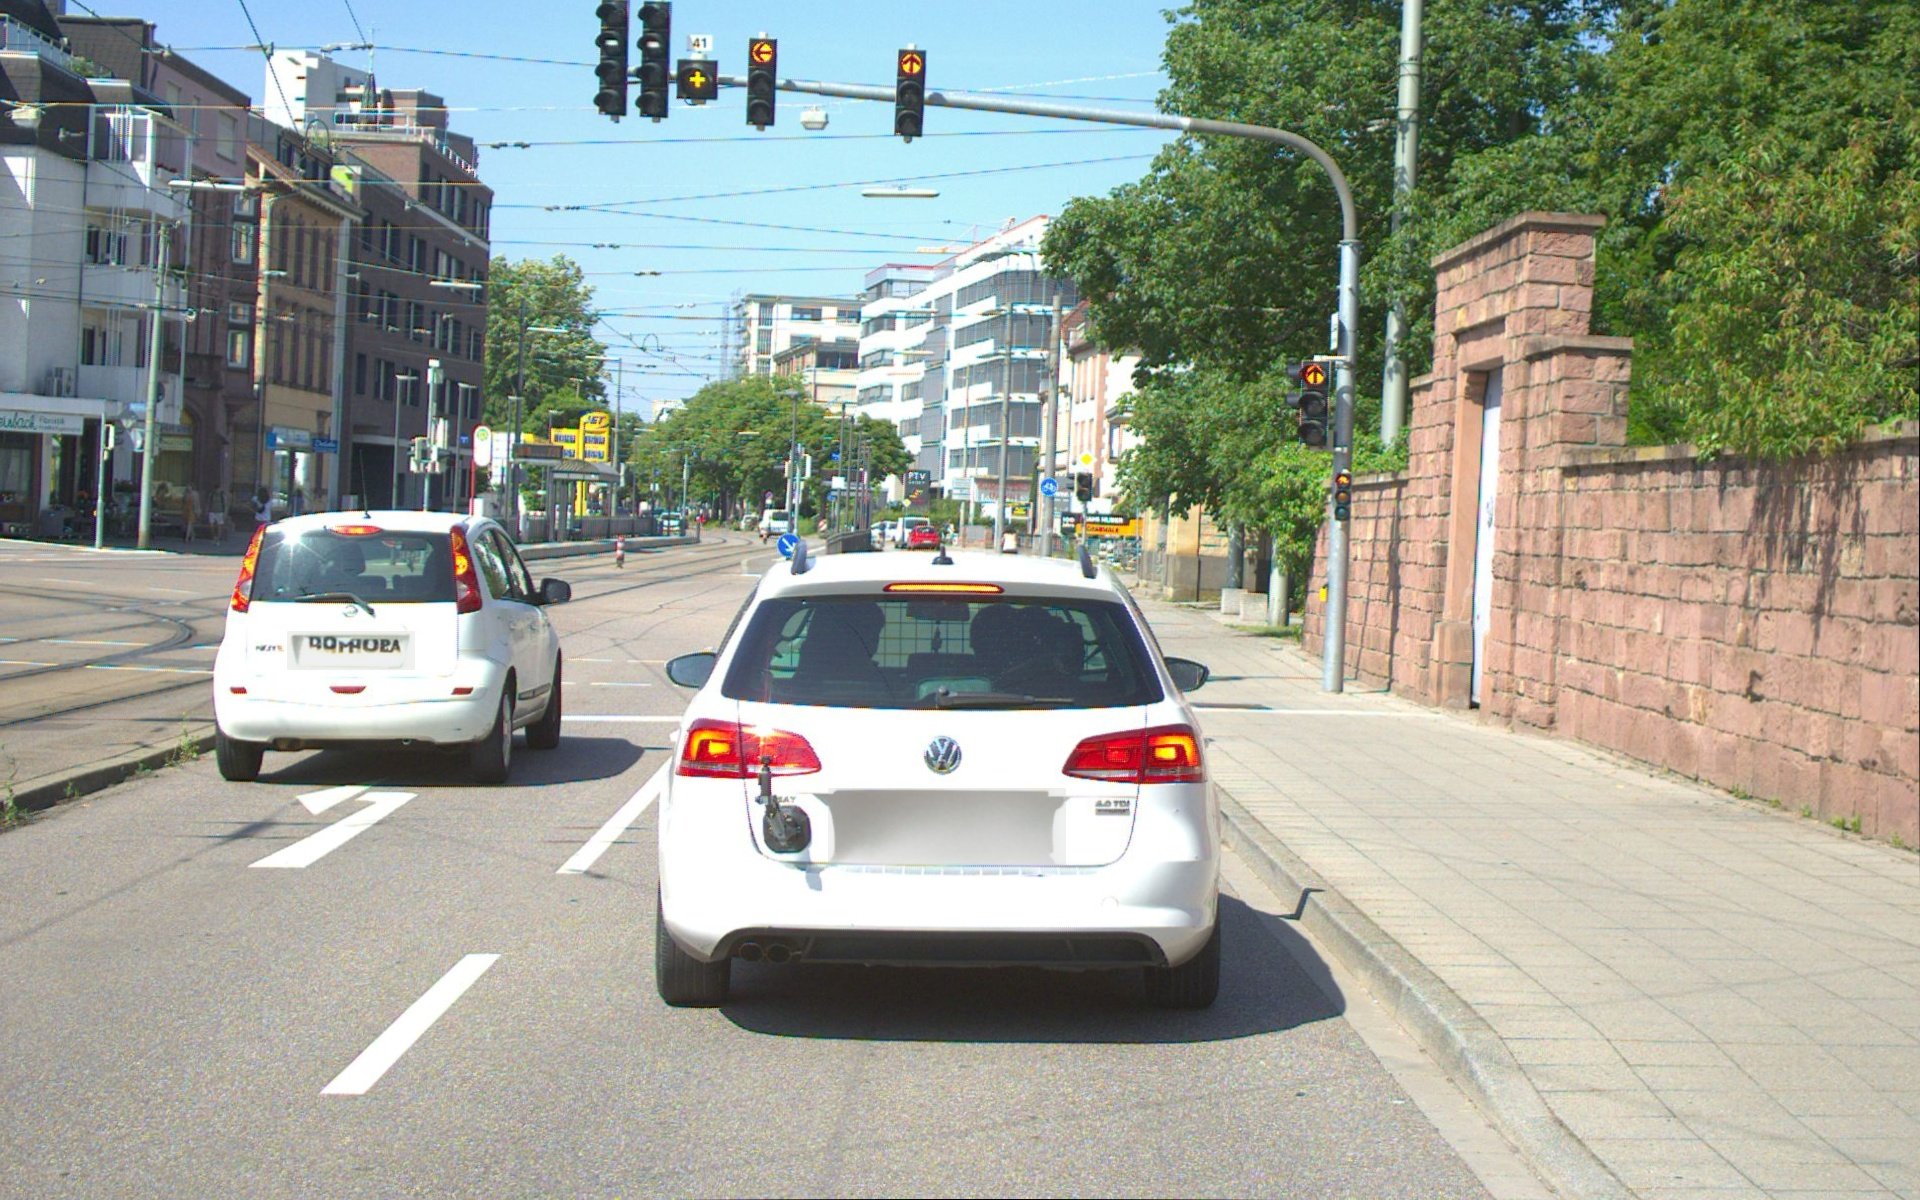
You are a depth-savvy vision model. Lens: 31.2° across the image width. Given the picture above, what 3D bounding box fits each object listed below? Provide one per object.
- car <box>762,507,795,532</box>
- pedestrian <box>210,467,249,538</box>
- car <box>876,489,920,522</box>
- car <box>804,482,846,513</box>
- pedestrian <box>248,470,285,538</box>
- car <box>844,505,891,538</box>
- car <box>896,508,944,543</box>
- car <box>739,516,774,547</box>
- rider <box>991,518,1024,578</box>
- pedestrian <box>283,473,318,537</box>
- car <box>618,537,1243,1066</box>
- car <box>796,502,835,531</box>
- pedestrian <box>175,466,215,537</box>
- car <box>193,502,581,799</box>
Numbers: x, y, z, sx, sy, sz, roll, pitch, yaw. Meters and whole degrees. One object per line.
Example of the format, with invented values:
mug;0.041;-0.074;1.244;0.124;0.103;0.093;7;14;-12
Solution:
car;-12.115;-5.367;229.275;1.698;1.585;3.536;2;1;-11
pedestrian;-21.024;-2.813;98.987;0.936;2.007;0.991;2;1;-6
car;-4.071;-6.188;225.101;1.993;2.007;4.002;2;1;-14
car;-9.676;-7.356;246.088;1.993;2.006;4.002;4;1;-16
pedestrian;-20.828;-2.881;103.289;0.936;2.007;0.991;2;1;-6
car;-5.646;-4.831;210.171;1.993;1.897;4.002;2;1;-14
car;-2.441;-4.582;210.425;1.993;2.007;4.002;2;1;-14
car;-10.872;-3.684;184.122;1.698;1.585;3.535;2;1;-1
rider;1.406;-1.565;102.476;0.891;1.722;2.204;2;1;0
pedestrian;-20.886;-3.007;108.885;0.936;2.007;0.991;2;1;-6
car;-0.043;0.537;11.717;1.779;1.485;3.847;0;1;1
car;-10.566;-6.126;250.772;1.993;2.007;4.002;2;1;-14
pedestrian;-21.987;-2.832;98.823;0.936;2.007;0.991;2;1;-4
car;-3.401;0.231;21.082;1.730;1.590;4.011;2;1;-1
